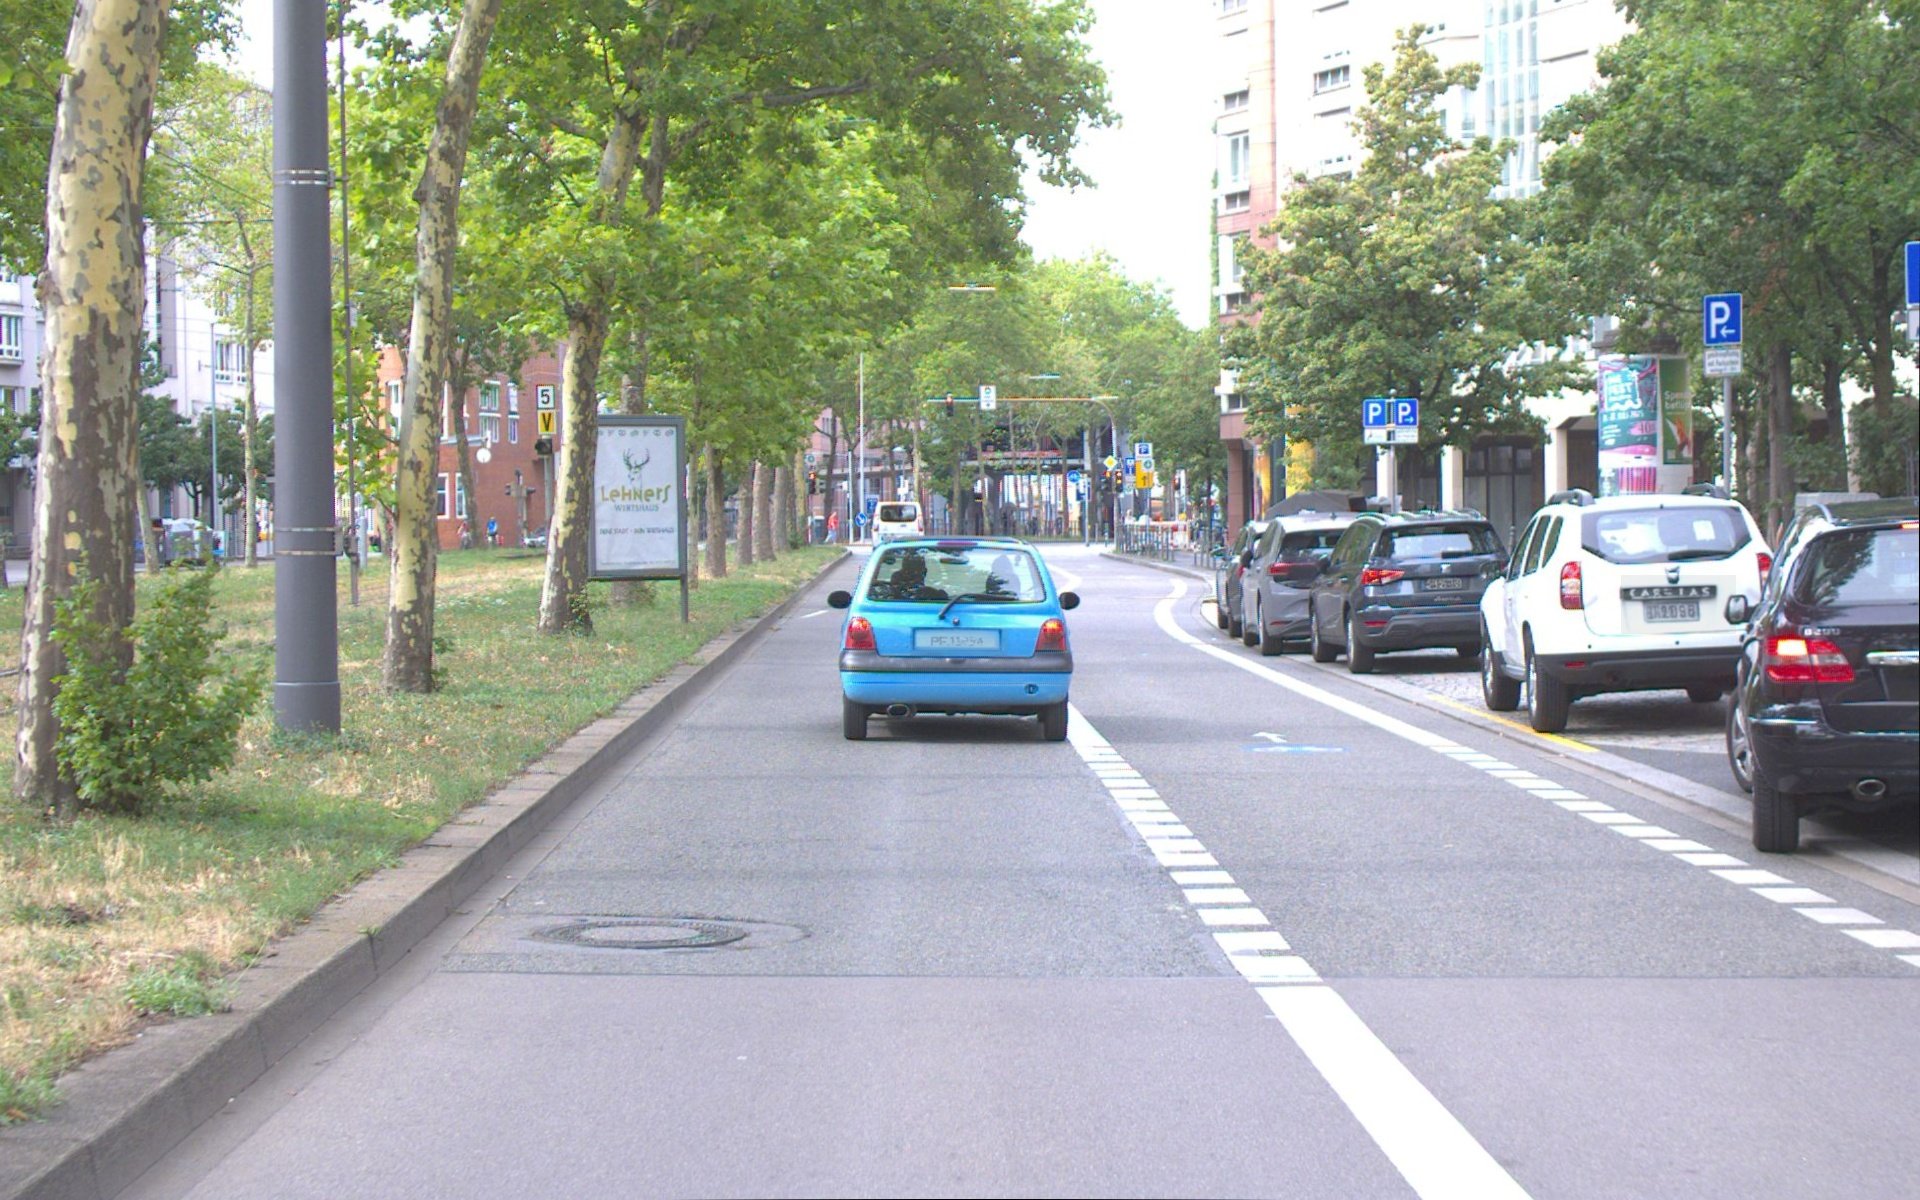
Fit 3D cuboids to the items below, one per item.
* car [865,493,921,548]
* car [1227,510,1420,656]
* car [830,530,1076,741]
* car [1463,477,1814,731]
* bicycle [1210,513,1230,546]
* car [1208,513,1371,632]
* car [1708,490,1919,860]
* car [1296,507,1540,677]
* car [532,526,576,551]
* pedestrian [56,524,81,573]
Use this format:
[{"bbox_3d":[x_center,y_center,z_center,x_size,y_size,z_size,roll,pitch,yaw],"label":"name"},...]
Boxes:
[{"bbox_3d":[-2.402,-2.862,123.802,1.931,1.919,4.956,-1,2,0],"label":"car"},{"bbox_3d":[4.115,-0.240,39.456,1.740,1.513,4.401,-2,2,1],"label":"car"},{"bbox_3d":[-0.047,0.197,24.817,1.640,1.381,3.843,0,1,0],"label":"car"},{"bbox_3d":[4.855,-0.030,25.143,1.861,1.647,4.163,-2,2,2],"label":"car"},{"bbox_3d":[8.972,-2.425,118.485,0.612,1.114,1.804,0,1,7],"label":"bicycle"},{"bbox_3d":[4.302,-0.404,45.514,1.817,1.437,4.666,-2,1,2],"label":"car"},{"bbox_3d":[4.684,0.255,17.133,1.776,1.571,4.303,-2,1,12],"label":"car"},{"bbox_3d":[4.496,-0.134,34.316,1.715,1.513,4.204,-2,2,-1],"label":"car"},{"bbox_3d":[-20.581,-3.141,174.391,1.729,1.241,4.535,0,1,-1],"label":"car"},{"bbox_3d":[-31.229,-1.821,120.419,0.552,1.699,0.884,0,1,4],"label":"pedestrian"}]
